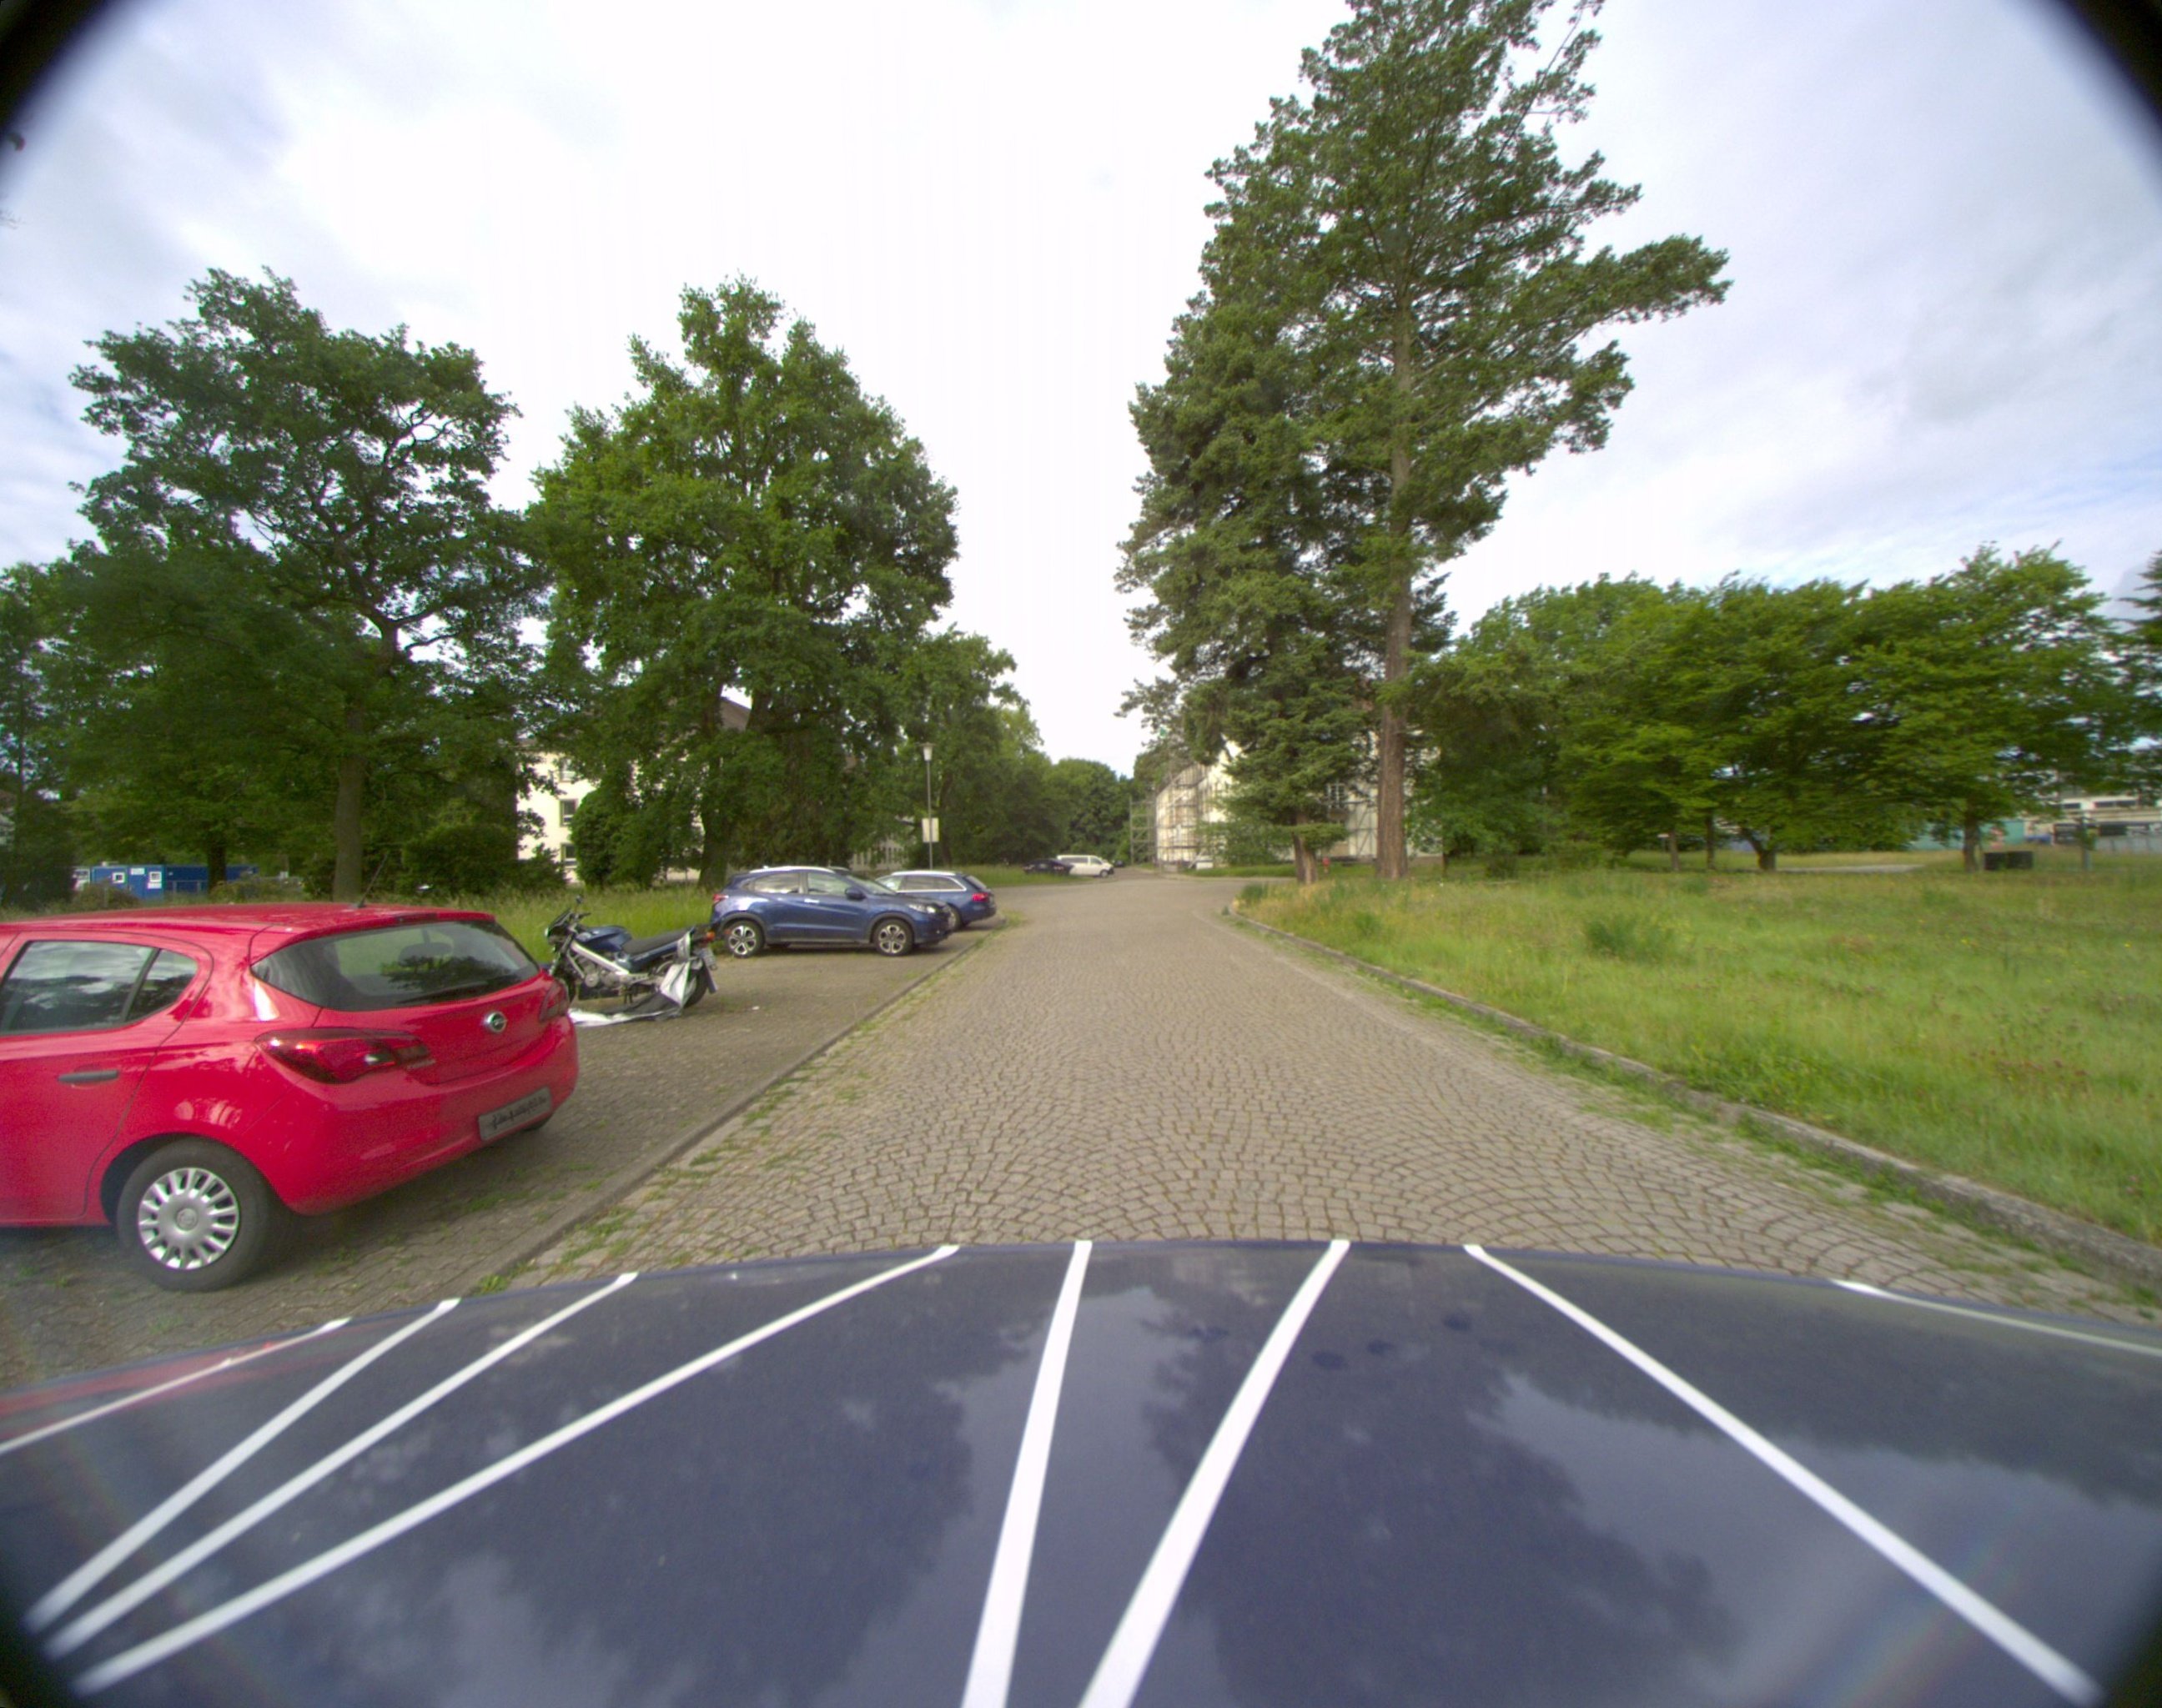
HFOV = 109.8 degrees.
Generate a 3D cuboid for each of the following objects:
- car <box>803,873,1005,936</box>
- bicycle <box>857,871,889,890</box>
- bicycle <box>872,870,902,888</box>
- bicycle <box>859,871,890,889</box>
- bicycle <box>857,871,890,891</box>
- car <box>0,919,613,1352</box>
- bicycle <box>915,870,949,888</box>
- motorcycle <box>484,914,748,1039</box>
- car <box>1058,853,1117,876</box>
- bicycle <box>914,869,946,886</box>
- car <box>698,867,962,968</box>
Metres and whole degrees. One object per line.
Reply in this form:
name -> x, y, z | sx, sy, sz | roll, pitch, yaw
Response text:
car -> -4.243, 1.212, 18.647 | 4.480, 1.413, 1.785 | -1, 0, 4
bicycle -> -13.171, 1.689, 48.143 | 1.859, 1.116, 0.621 | -3, 1, -22
bicycle -> -13.281, 1.679, 52.023 | 1.859, 1.116, 0.621 | -3, 1, -22
bicycle -> -13.511, 1.703, 49.806 | 1.859, 1.116, 0.621 | -3, 1, -22
bicycle -> -12.977, 1.681, 47.531 | 1.859, 1.116, 0.621 | -3, 1, -22
car -> -4.776, 1.138, 3.721 | 3.835, 1.451, 1.779 | -1, 0, 0
bicycle -> -9.569, 1.602, 48.849 | 1.976, 1.070, 0.587 | -3, 1, -27
motorcycle -> -4.963, 1.292, 8.237 | 2.333, 1.179, 0.795 | -1, 0, -2
car -> 0.572, 0.907, 67.452 | 5.100, 2.007, 2.054 | -1, 0, 0
bicycle -> -10.122, 1.576, 50.960 | 2.032, 1.070, 0.621 | -3, 1, -22
car -> -4.453, 1.103, 13.950 | 4.172, 1.562, 1.793 | -2, 1, 1
